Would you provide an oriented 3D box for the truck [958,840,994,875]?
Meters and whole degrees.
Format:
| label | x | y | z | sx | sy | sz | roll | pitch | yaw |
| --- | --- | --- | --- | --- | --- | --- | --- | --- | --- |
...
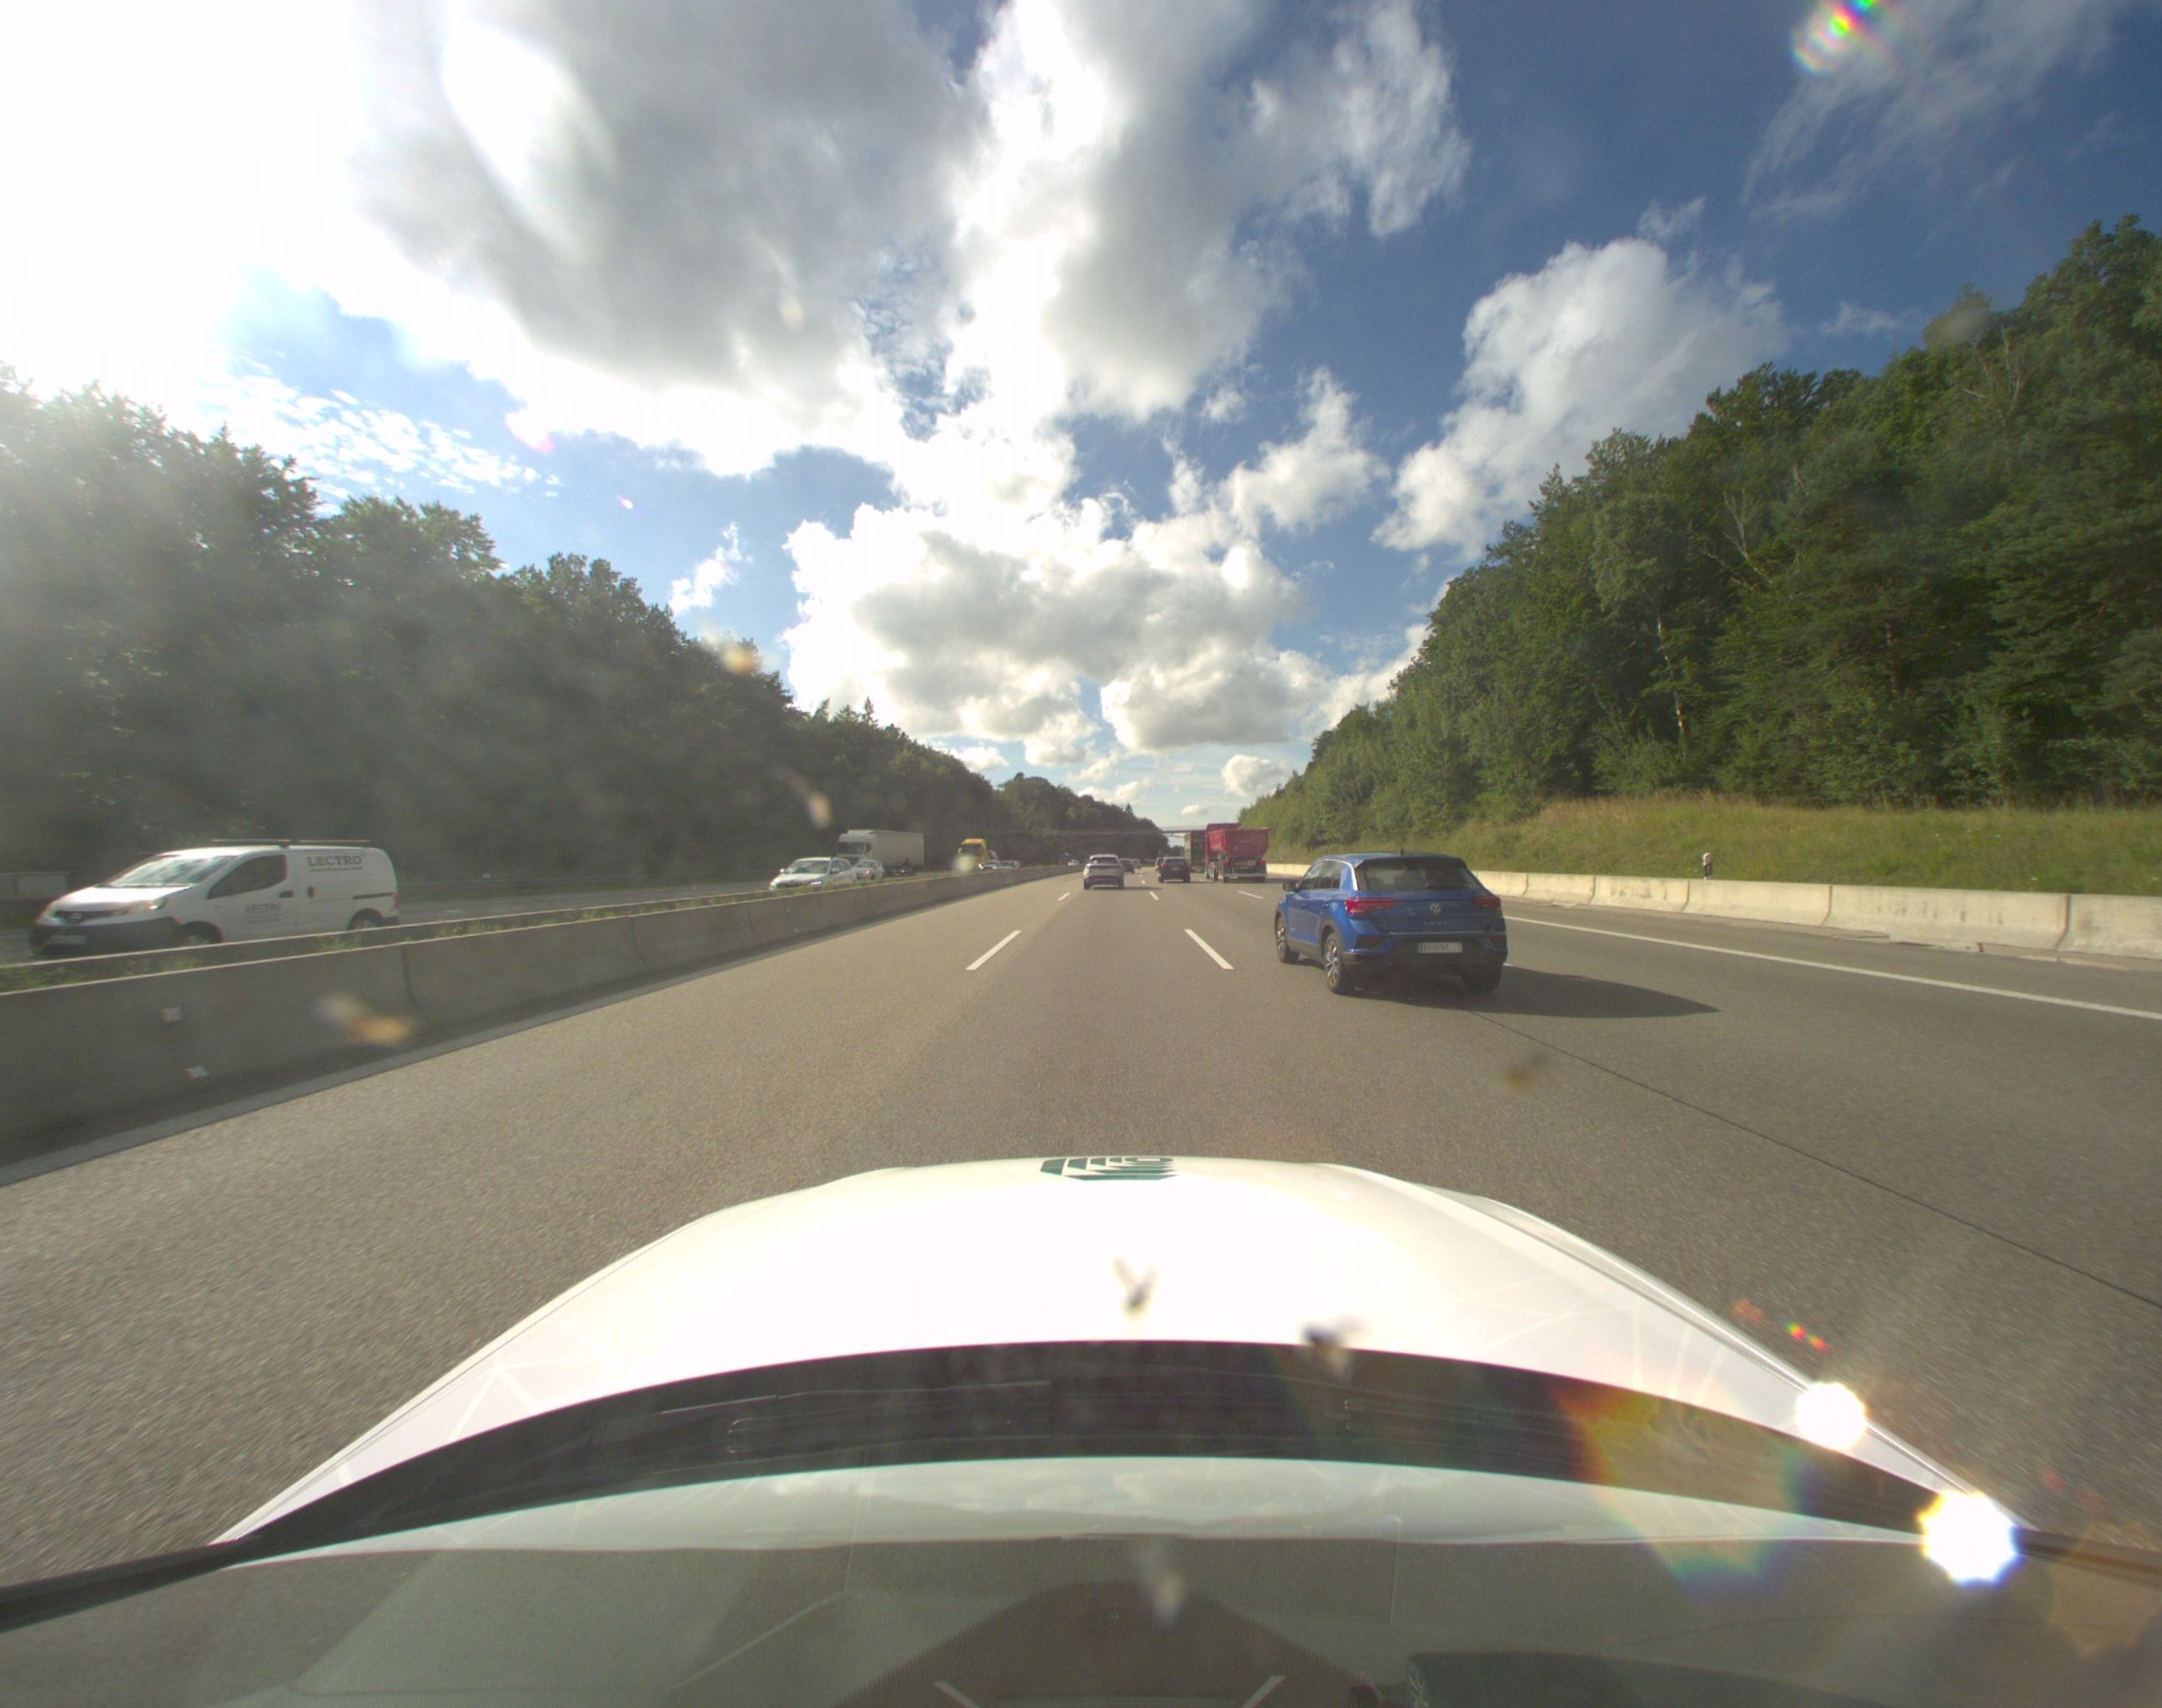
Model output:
| label | x | y | z | sx | sy | sz | roll | pitch | yaw |
| --- | --- | --- | --- | --- | --- | --- | --- | --- | --- |
| truck | -12.009 | 0.409 | 93.996 | 2.764 | 3.810 | 7.141 | -1 | 0 | 4 |

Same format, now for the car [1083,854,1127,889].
| label | x | y | z | sx | sy | sz | roll | pitch | yaw |
| --- | --- | --- | --- | --- | --- | --- | --- | --- | --- |
| car | 1.257 | 0.798 | 40.479 | 1.998 | 1.616 | 5.305 | 0 | 0 | 3 |

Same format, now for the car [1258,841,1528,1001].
| label | x | y | z | sx | sy | sz | roll | pitch | yaw |
| --- | --- | --- | --- | --- | --- | --- | --- | --- | --- |
| car | 3.551 | 0.660 | 10.242 | 1.766 | 1.530 | 4.459 | -1 | 0 | 1 |

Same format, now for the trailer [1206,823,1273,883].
| label | x | y | z | sx | sy | sz | roll | pitch | yaw |
| --- | --- | --- | --- | --- | --- | --- | --- | --- | --- |
| trailer | 9.376 | -0.055 | 49.145 | 2.698 | 3.231 | 9.742 | -1 | 0 | 4 |

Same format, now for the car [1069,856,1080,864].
| label | x | y | z | sx | sy | sz | roll | pitch | yaw |
| --- | --- | --- | --- | --- | --- | --- | --- | --- | --- |
| car | -1.213 | 1.176 | 157.969 | 1.807 | 1.535 | 4.320 | -1 | 0 | 3 |

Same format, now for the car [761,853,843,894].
| label | x | y | z | sx | sy | sz | roll | pitch | yaw |
| --- | --- | --- | --- | --- | --- | --- | --- | --- | --- |
| car | -12.393 | 0.828 | 36.518 | 1.986 | 1.687 | 4.681 | -1 | 0 | 1 |

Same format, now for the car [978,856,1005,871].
| label | x | y | z | sx | sy | sz | roll | pitch | yaw |
| --- | --- | --- | --- | --- | --- | --- | --- | --- | --- |
| car | -9.267 | 0.920 | 84.550 | 1.985 | 1.486 | 4.986 | -1 | 0 | 3 |

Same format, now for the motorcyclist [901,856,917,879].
| label | x | y | z | sx | sy | sz | roll | pitch | yaw |
| --- | --- | --- | --- | --- | --- | --- | --- | --- | --- |
| motorcyclist | -11.432 | 0.901 | 54.178 | 0.751 | 1.476 | 1.076 | -1 | 0 | 2 |

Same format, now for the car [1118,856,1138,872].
| label | x | y | z | sx | sy | sz | roll | pitch | yaw |
| --- | --- | --- | --- | --- | --- | --- | --- | --- | --- |
| car | 4.597 | 0.974 | 79.448 | 1.813 | 1.546 | 4.006 | 0 | 0 | 5 |

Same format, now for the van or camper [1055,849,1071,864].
| label | x | y | z | sx | sy | sz | roll | pitch | yaw |
| --- | --- | --- | --- | --- | --- | --- | --- | --- | --- |
| van or camper | -3.861 | 0.430 | 174.611 | 2.547 | 3.125 | 7.343 | -1 | 0 | 4 |

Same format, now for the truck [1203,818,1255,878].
| label | x | y | z | sx | sy | sz | roll | pitch | yaw |
| --- | --- | --- | --- | --- | --- | --- | --- | --- | --- |
| truck | 9.697 | -0.361 | 54.054 | 2.698 | 3.718 | 5.823 | -1 | 0 | 3 |

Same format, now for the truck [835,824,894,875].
| label | x | y | z | sx | sy | sz | roll | pitch | yaw |
| --- | --- | --- | --- | --- | --- | --- | --- | --- | --- |
| truck | -18.157 | -0.328 | 68.813 | 2.694 | 4.068 | 6.606 | -1 | 0 | 4 |

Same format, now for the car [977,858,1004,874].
| label | x | y | z | sx | sy | sz | roll | pitch | yaw |
| --- | --- | --- | --- | --- | --- | --- | --- | --- | --- |
| car | -7.796 | 0.991 | 70.759 | 1.677 | 1.307 | 4.201 | -1 | 0 | 3 |

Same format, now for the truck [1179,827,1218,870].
| label | x | y | z | sx | sy | sz | roll | pitch | yaw |
| --- | --- | --- | --- | --- | --- | --- | --- | --- | --- |
| truck | 11.701 | -0.517 | 81.833 | 3.104 | 3.935 | 10.423 | -1 | 0 | 4 |

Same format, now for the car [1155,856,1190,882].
| label | x | y | z | sx | sy | sz | roll | pitch | yaw |
| --- | --- | --- | --- | --- | --- | --- | --- | --- | --- |
| car | 5.384 | 0.842 | 48.492 | 1.815 | 1.457 | 4.003 | -1 | 0 | 3 |

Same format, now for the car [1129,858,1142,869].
| label | x | y | z | sx | sy | sz | roll | pitch | yaw |
| --- | --- | --- | --- | --- | --- | --- | --- | --- | --- |
| car | 8.073 | 1.381 | 119.527 | 1.814 | 1.457 | 4.006 | -1 | 0 | 5 |

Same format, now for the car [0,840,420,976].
| label | x | y | z | sx | sy | sz | roll | pitch | yaw |
| --- | --- | --- | --- | --- | --- | --- | --- | --- | --- |
| car | -13.908 | 0.742 | 13.477 | 1.986 | 1.837 | 4.730 | -1 | 0 | 1 |

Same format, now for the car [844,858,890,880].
| label | x | y | z | sx | sy | sz | roll | pitch | yaw |
| --- | --- | --- | --- | --- | --- | --- | --- | --- | --- |
| car | -14.797 | 1.019 | 56.595 | 1.839 | 1.498 | 4.133 | 0 | 0 | 4 |

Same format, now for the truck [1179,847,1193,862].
| label | x | y | z | sx | sy | sz | roll | pitch | yaw |
| --- | --- | --- | --- | --- | --- | --- | --- | --- | --- |
| truck | 21.255 | 0.112 | 164.908 | 2.829 | 2.925 | 8.403 | -1 | 0 | 7 |

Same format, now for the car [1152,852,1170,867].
| label | x | y | z | sx | sy | sz | roll | pitch | yaw |
| --- | --- | --- | --- | --- | --- | --- | --- | --- | --- |
| car | 9.593 | 0.651 | 97.972 | 1.886 | 1.857 | 4.102 | -1 | 0 | 2 |

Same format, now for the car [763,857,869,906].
| label | x | y | z | sx | sy | sz | roll | pitch | yaw |
| --- | --- | --- | --- | --- | --- | --- | --- | --- | --- |
| car | -8.904 | 0.864 | 27.790 | 1.746 | 1.508 | 4.686 | -1 | 0 | 5 |

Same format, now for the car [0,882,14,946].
| label | x | y | z | sx | sy | sz | roll | pitch | yaw |
| --- | --- | --- | --- | --- | --- | --- | --- | --- | --- |
| car | -21.227 | 1.141 | 13.711 | 1.488 | 1.212 | 3.789 | -1 | 0 | 1 |

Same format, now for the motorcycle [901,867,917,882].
| label | x | y | z | sx | sy | sz | roll | pitch | yaw |
| --- | --- | --- | --- | --- | --- | --- | --- | --- | --- |
| motorcycle | -11.410 | 1.337 | 54.124 | 0.480 | 0.956 | 2.253 | -1 | 0 | 3 |

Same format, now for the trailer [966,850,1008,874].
| label | x | y | z | sx | sy | sz | roll | pitch | yaw |
| --- | --- | --- | --- | --- | --- | --- | --- | --- | --- |
| trailer | -11.510 | 0.958 | 100.971 | 2.764 | 2.720 | 13.326 | -1 | 0 | 4 |

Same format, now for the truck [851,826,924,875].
| label | x | y | z | sx | sy | sz | roll | pitch | yaw |
| --- | --- | --- | --- | --- | --- | --- | --- | --- | --- |
| truck | -17.629 | -0.282 | 75.491 | 2.694 | 4.068 | 13.104 | -1 | 0 | 4 |
